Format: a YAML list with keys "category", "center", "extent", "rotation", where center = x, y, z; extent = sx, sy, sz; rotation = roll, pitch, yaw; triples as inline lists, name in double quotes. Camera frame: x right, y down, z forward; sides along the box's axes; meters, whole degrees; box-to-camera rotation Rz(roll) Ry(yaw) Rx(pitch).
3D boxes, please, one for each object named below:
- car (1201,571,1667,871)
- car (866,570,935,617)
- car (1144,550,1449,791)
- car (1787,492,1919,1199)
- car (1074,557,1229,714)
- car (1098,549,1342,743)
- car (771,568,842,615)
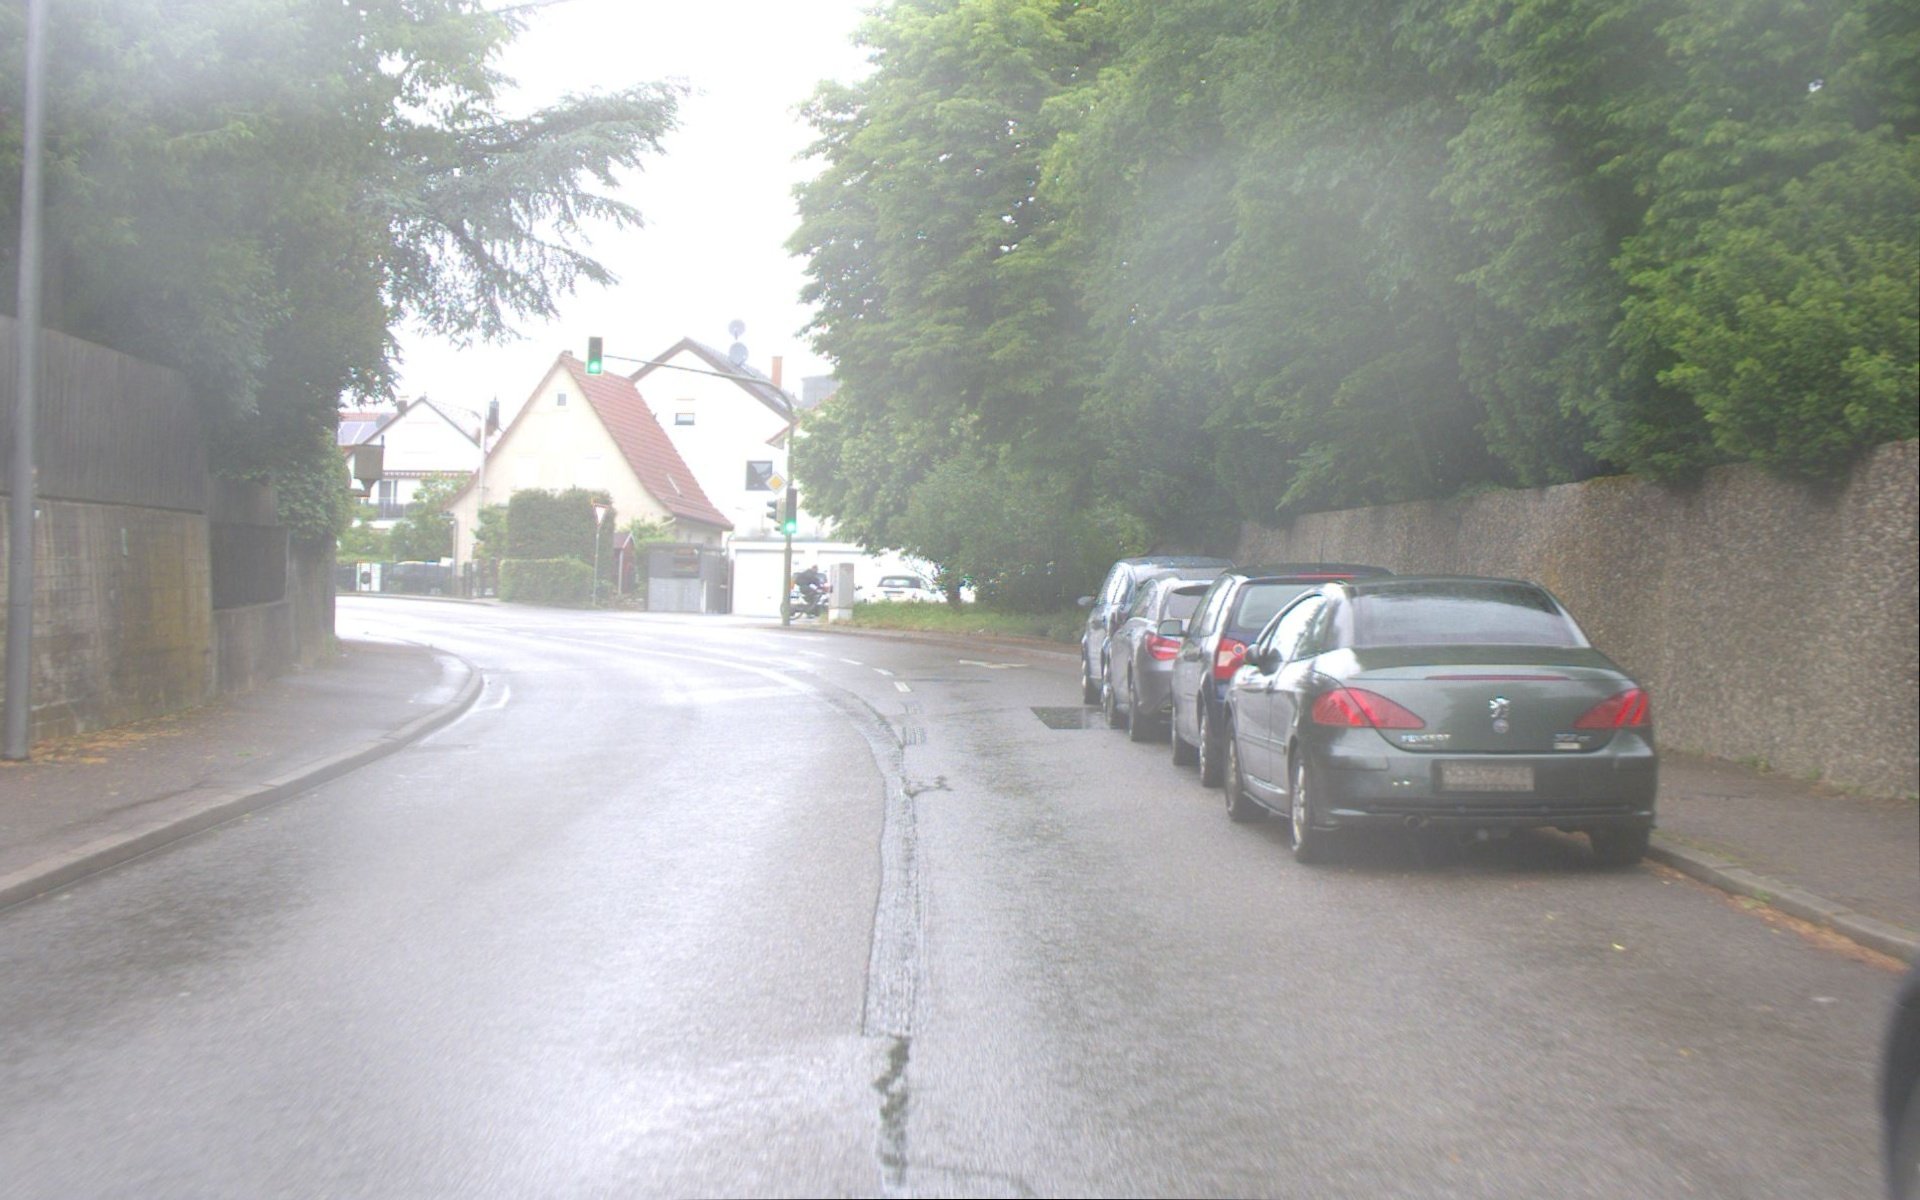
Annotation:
- category: "car"
  center: [2.359, 0.548, 18.105]
  extent: [1.651, 1.367, 4.182]
  rotation: [1, 1, -3]
- category: "car"
  center: [-1.852, -0.219, 108.268]
  extent: [1.907, 1.437, 4.000]
  rotation: [1, 1, 3]
- category: "car"
  center: [2.249, 0.463, 23.793]
  extent: [1.647, 1.492, 3.709]
  rotation: [2, 0, -1]
- category: "car"
  center: [2.556, 0.665, 4.314]
  extent: [1.742, 1.662, 4.498]
  rotation: [1, 0, -3]
- category: "car"
  center: [1.920, 0.356, 35.125]
  extent: [1.302, 1.492, 3.364]
  rotation: [2, 0, -1]
- category: "car"
  center: [2.139, 0.379, 29.300]
  extent: [1.647, 1.492, 4.246]
  rotation: [2, 0, -1]
- category: "car"
  center: [-4.833, -0.277, 108.680]
  extent: [1.907, 1.437, 4.000]
  rotation: [1, 1, 3]
